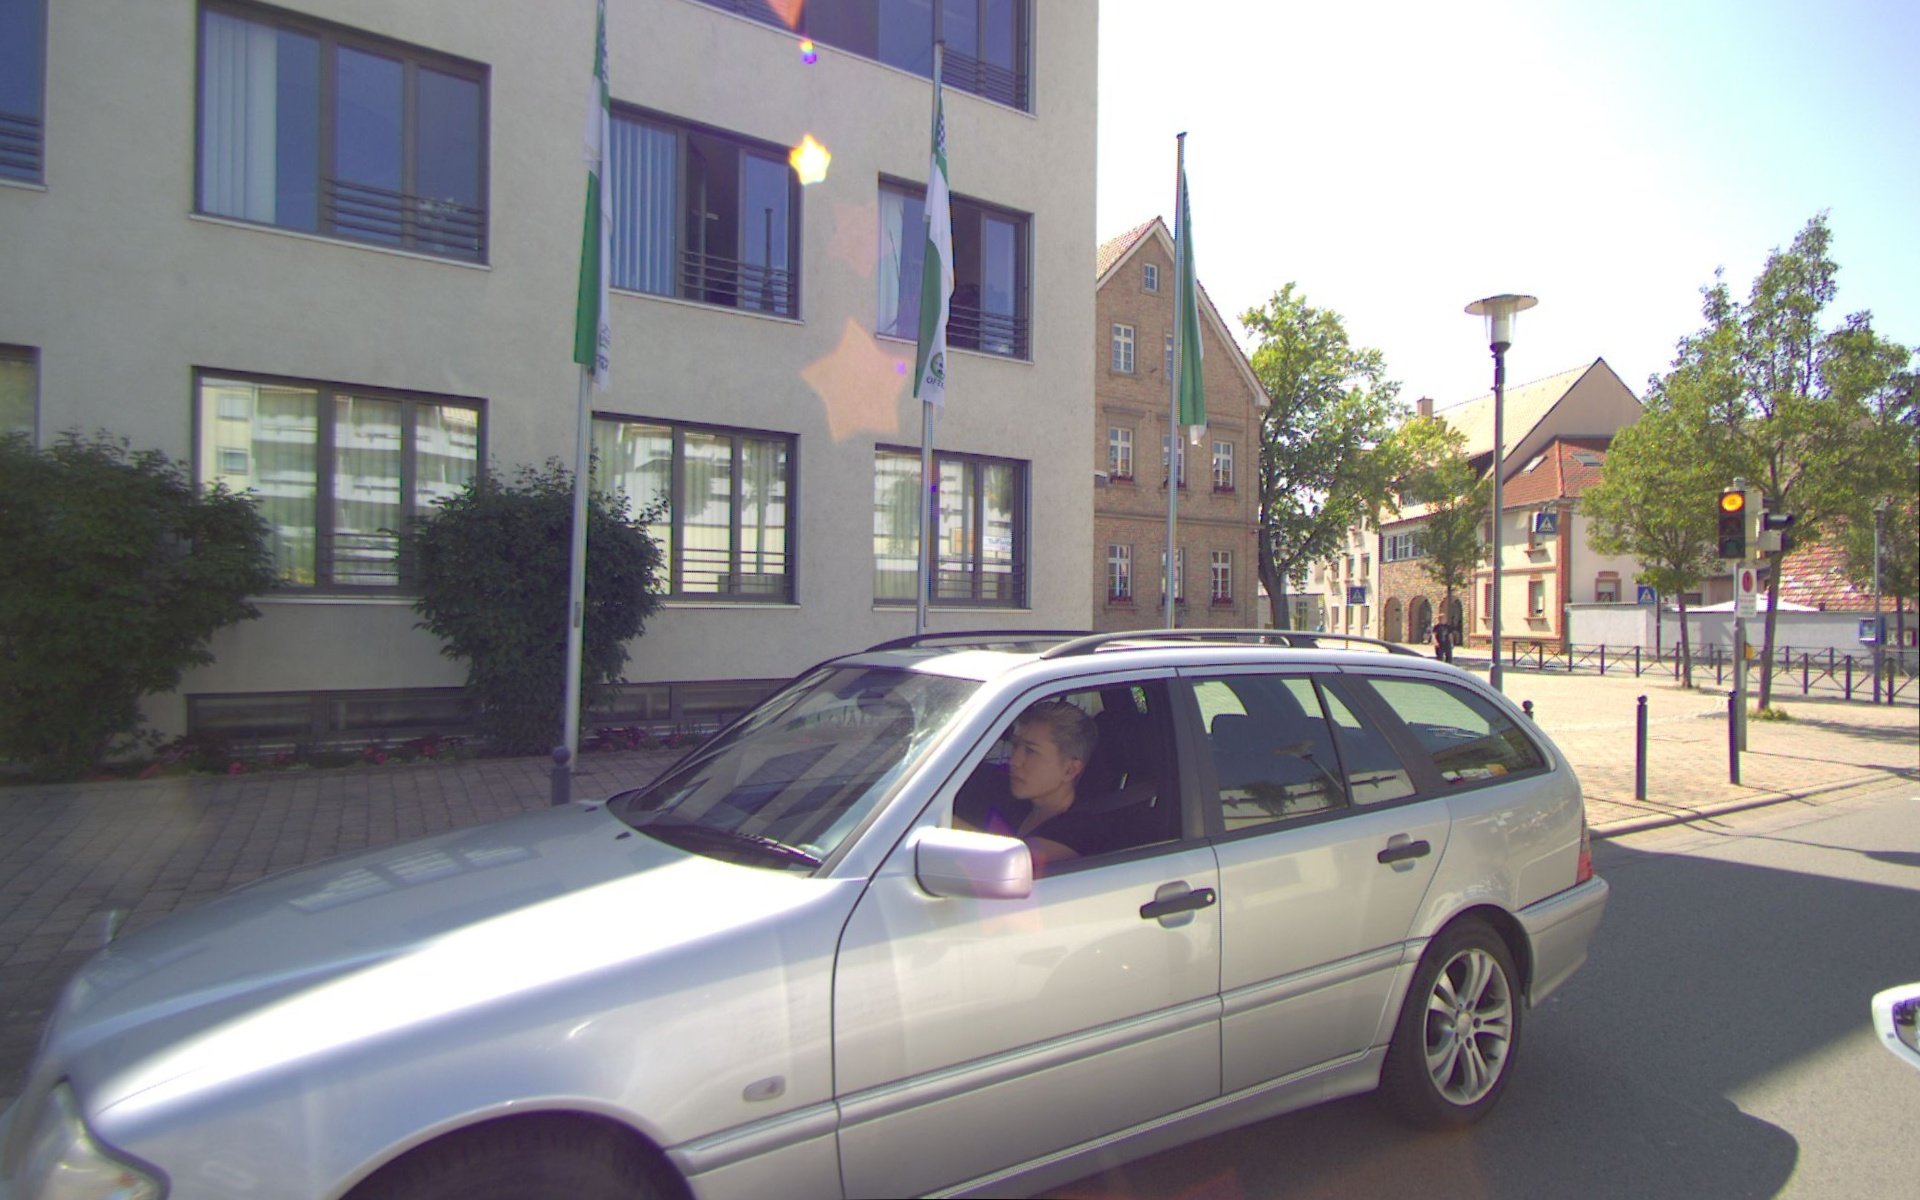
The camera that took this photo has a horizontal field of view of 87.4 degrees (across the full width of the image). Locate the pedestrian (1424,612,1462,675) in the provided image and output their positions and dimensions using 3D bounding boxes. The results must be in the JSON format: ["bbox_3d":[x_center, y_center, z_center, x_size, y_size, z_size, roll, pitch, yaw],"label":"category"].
[{"bbox_3d":[13.291,1.195,27.657,0.798,1.676,0.851,1,-1,20],"label":"pedestrian"}]

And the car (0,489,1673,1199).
[{"bbox_3d":[0.157,0.740,3.149,4.387,1.483,1.871,3,-3,-32],"label":"car"}]

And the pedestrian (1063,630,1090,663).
[{"bbox_3d":[3.764,1.503,32.412,0.610,1.041,0.636,1,-1,-29],"label":"pedestrian"}]

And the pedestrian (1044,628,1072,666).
[{"bbox_3d":[3.125,1.506,32.025,0.610,1.186,0.636,1,-1,-29],"label":"pedestrian"}]
